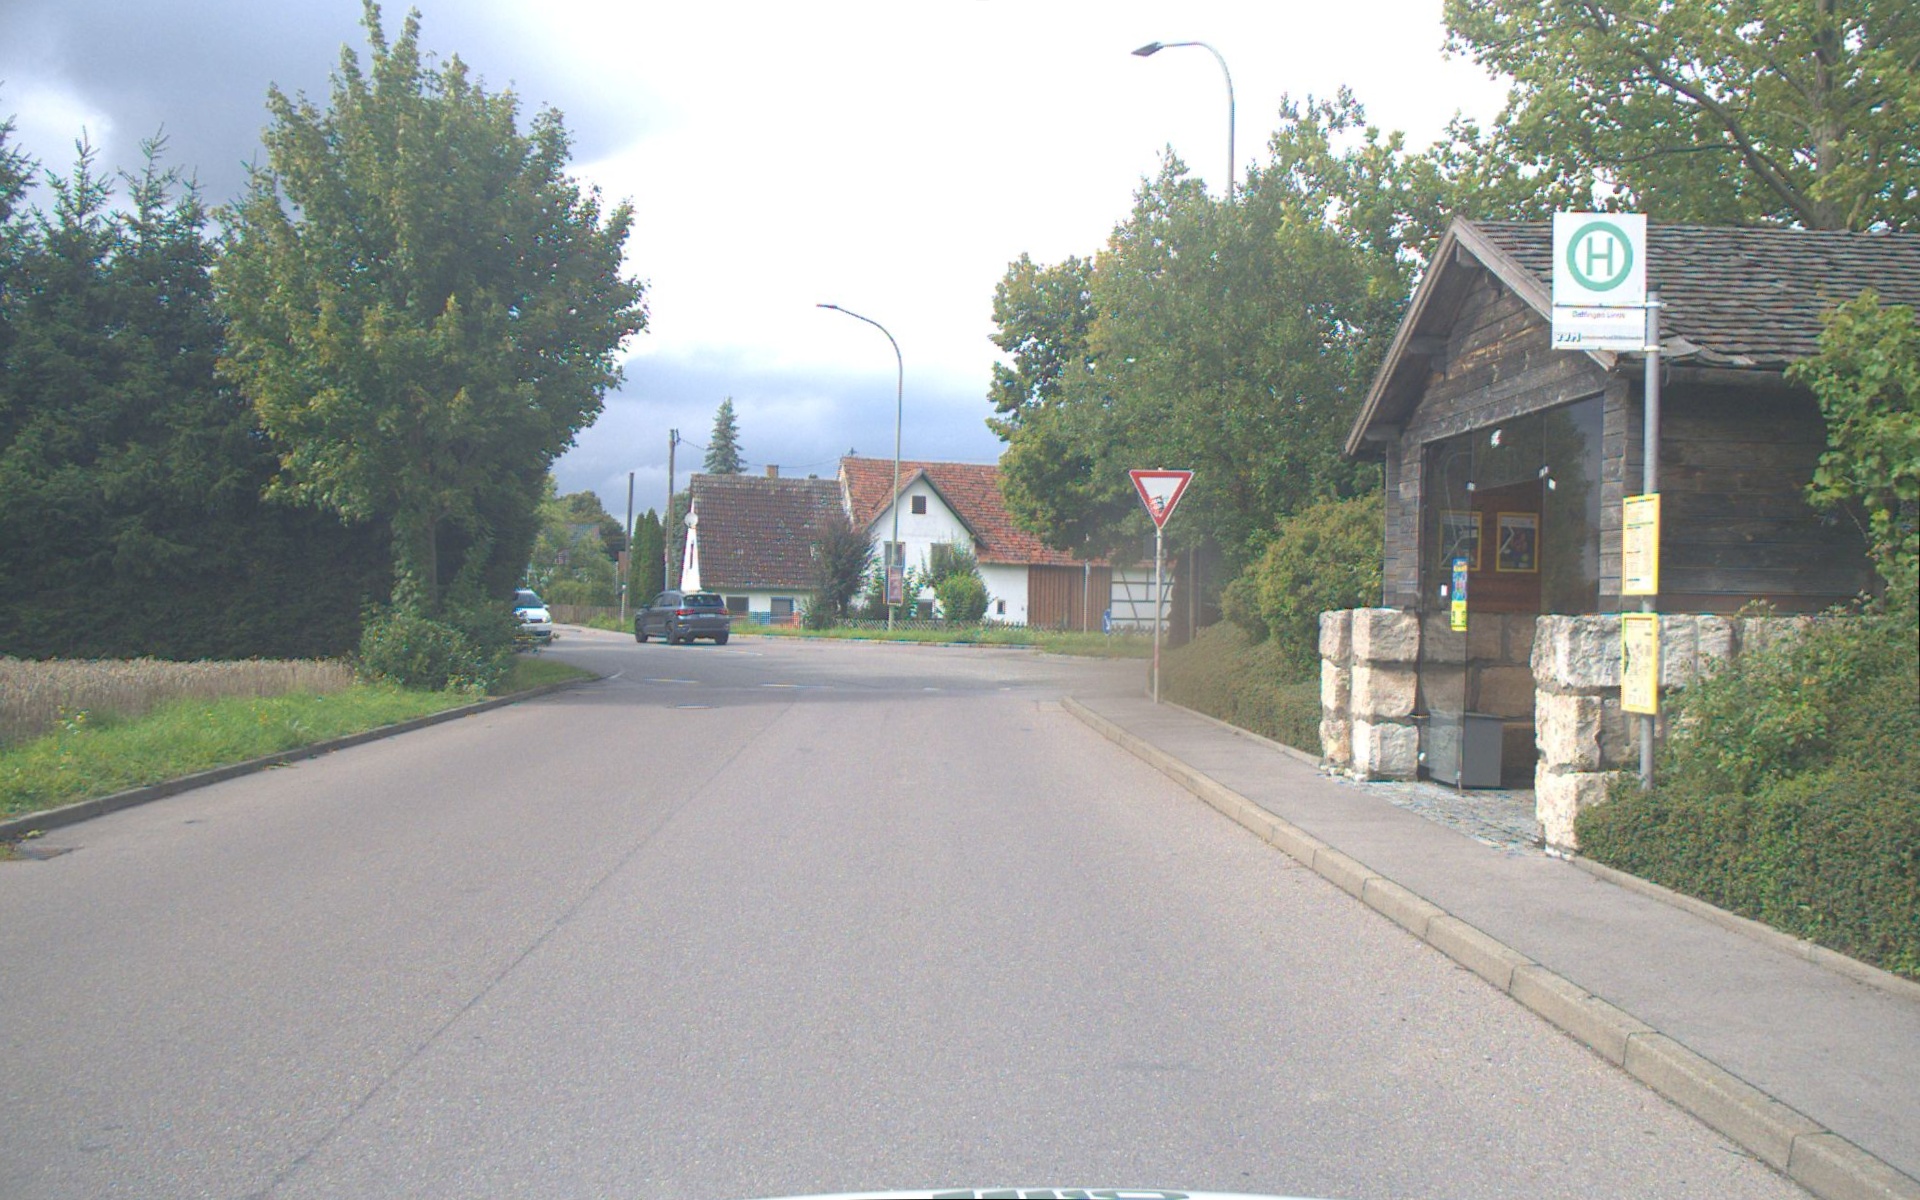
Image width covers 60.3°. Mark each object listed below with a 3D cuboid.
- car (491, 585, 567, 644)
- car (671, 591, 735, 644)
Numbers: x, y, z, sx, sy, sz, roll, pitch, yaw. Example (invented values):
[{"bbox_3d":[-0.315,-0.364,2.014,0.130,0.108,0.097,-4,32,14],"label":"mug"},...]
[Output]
[{"bbox_3d":[-13.166,0.426,50.388,1.676,1.694,4.003,0,0,-23],"label":"car"},{"bbox_3d":[-7.685,0.511,49.709,1.765,1.488,3.656,1,0,-8],"label":"car"}]
